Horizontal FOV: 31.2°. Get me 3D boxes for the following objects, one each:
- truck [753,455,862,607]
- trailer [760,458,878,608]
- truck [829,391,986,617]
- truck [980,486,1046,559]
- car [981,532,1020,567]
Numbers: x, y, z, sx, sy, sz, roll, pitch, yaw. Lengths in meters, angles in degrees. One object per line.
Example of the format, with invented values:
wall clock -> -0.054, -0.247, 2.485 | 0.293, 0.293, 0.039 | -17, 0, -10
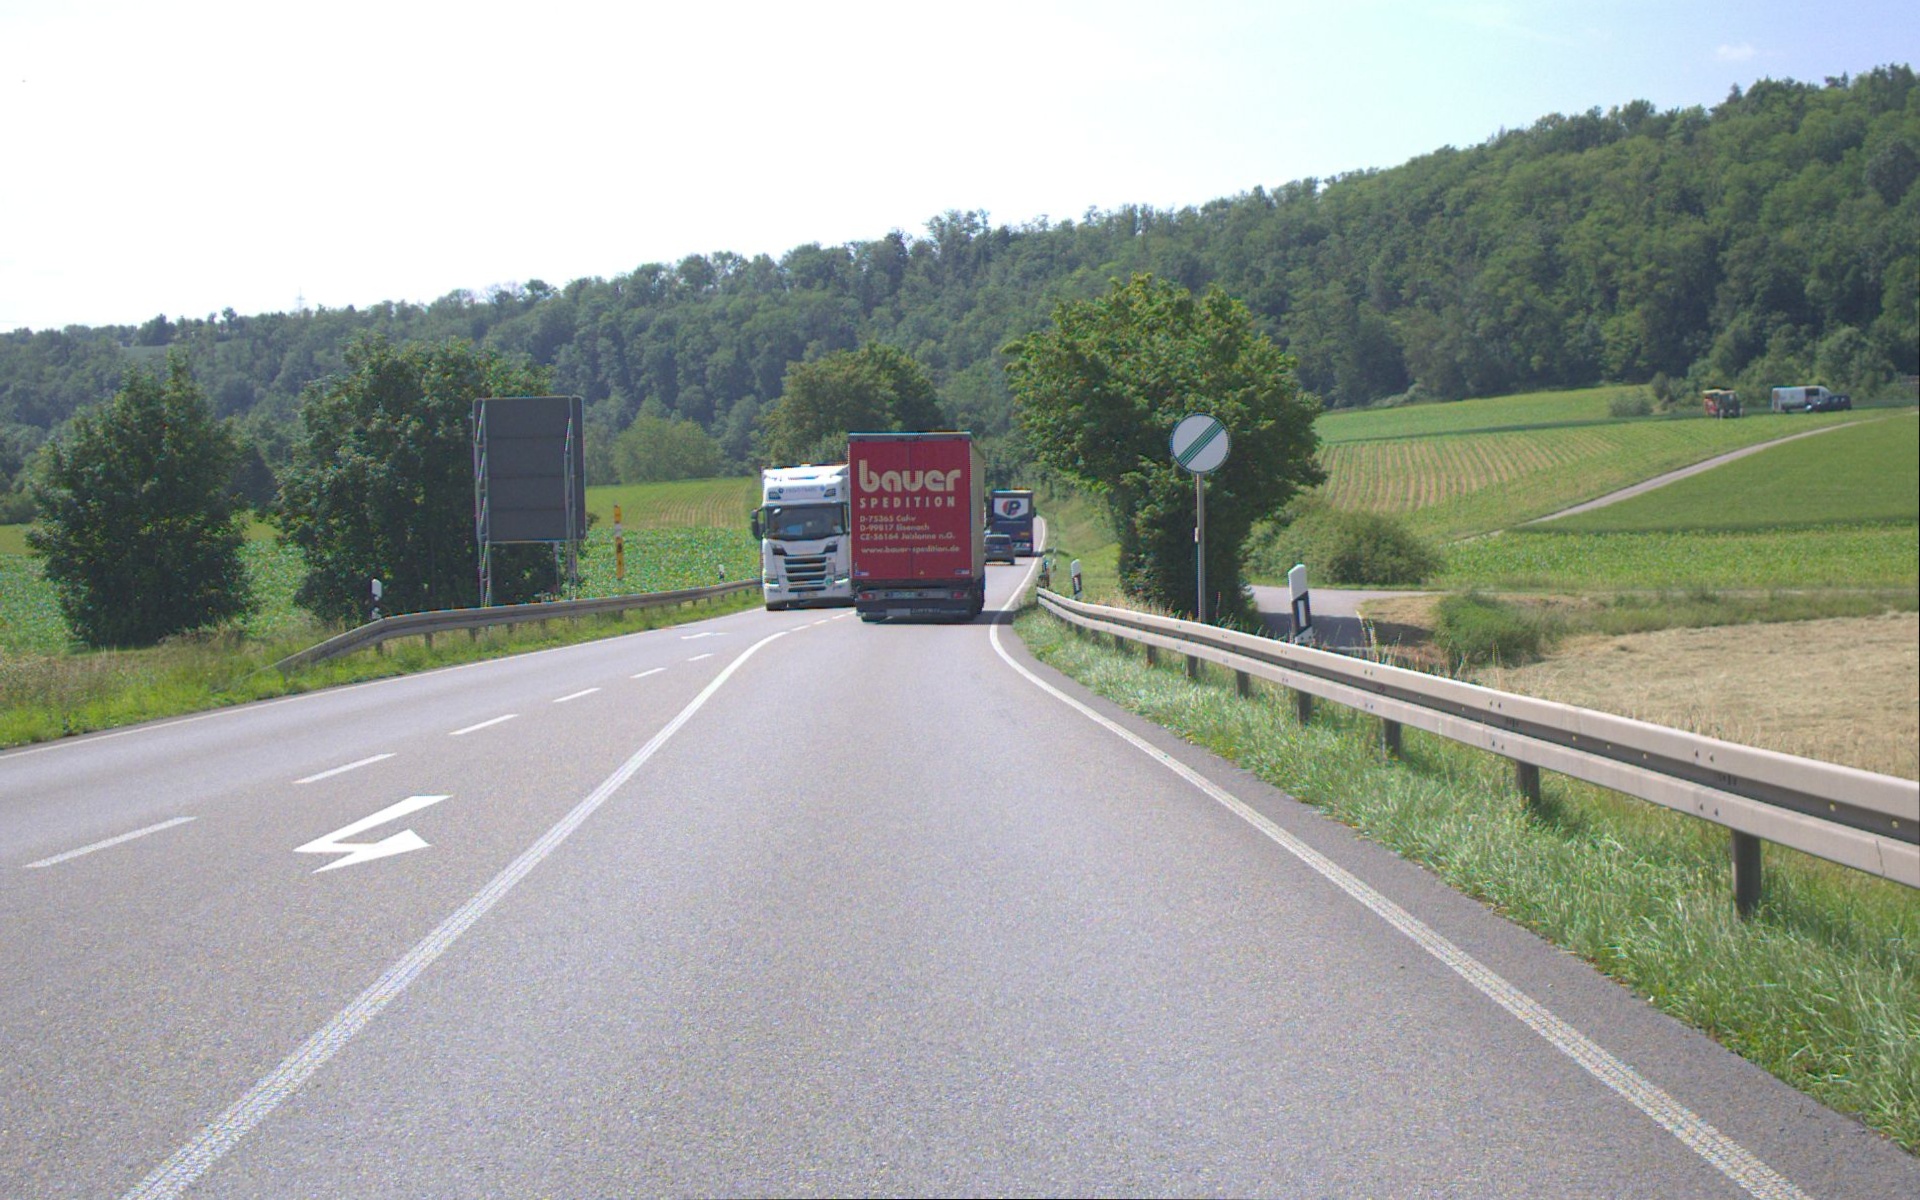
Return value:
truck -> -4.283, -1.939, 97.619 | 2.530, 4.105, 6.021 | -2, 1, 1
trailer -> -4.147, -1.984, 104.044 | 2.507, 4.105, 13.898 | -3, 1, 1
truck -> -1.070, -2.124, 77.442 | 3.172, 4.609, 13.544 | -1, 1, 0
truck -> 3.317, -4.812, 216.783 | 3.905, 4.354, 13.292 | 2, 1, 1
car -> 2.182, -2.712, 186.141 | 1.993, 1.804, 4.000 | 2, 1, 0
